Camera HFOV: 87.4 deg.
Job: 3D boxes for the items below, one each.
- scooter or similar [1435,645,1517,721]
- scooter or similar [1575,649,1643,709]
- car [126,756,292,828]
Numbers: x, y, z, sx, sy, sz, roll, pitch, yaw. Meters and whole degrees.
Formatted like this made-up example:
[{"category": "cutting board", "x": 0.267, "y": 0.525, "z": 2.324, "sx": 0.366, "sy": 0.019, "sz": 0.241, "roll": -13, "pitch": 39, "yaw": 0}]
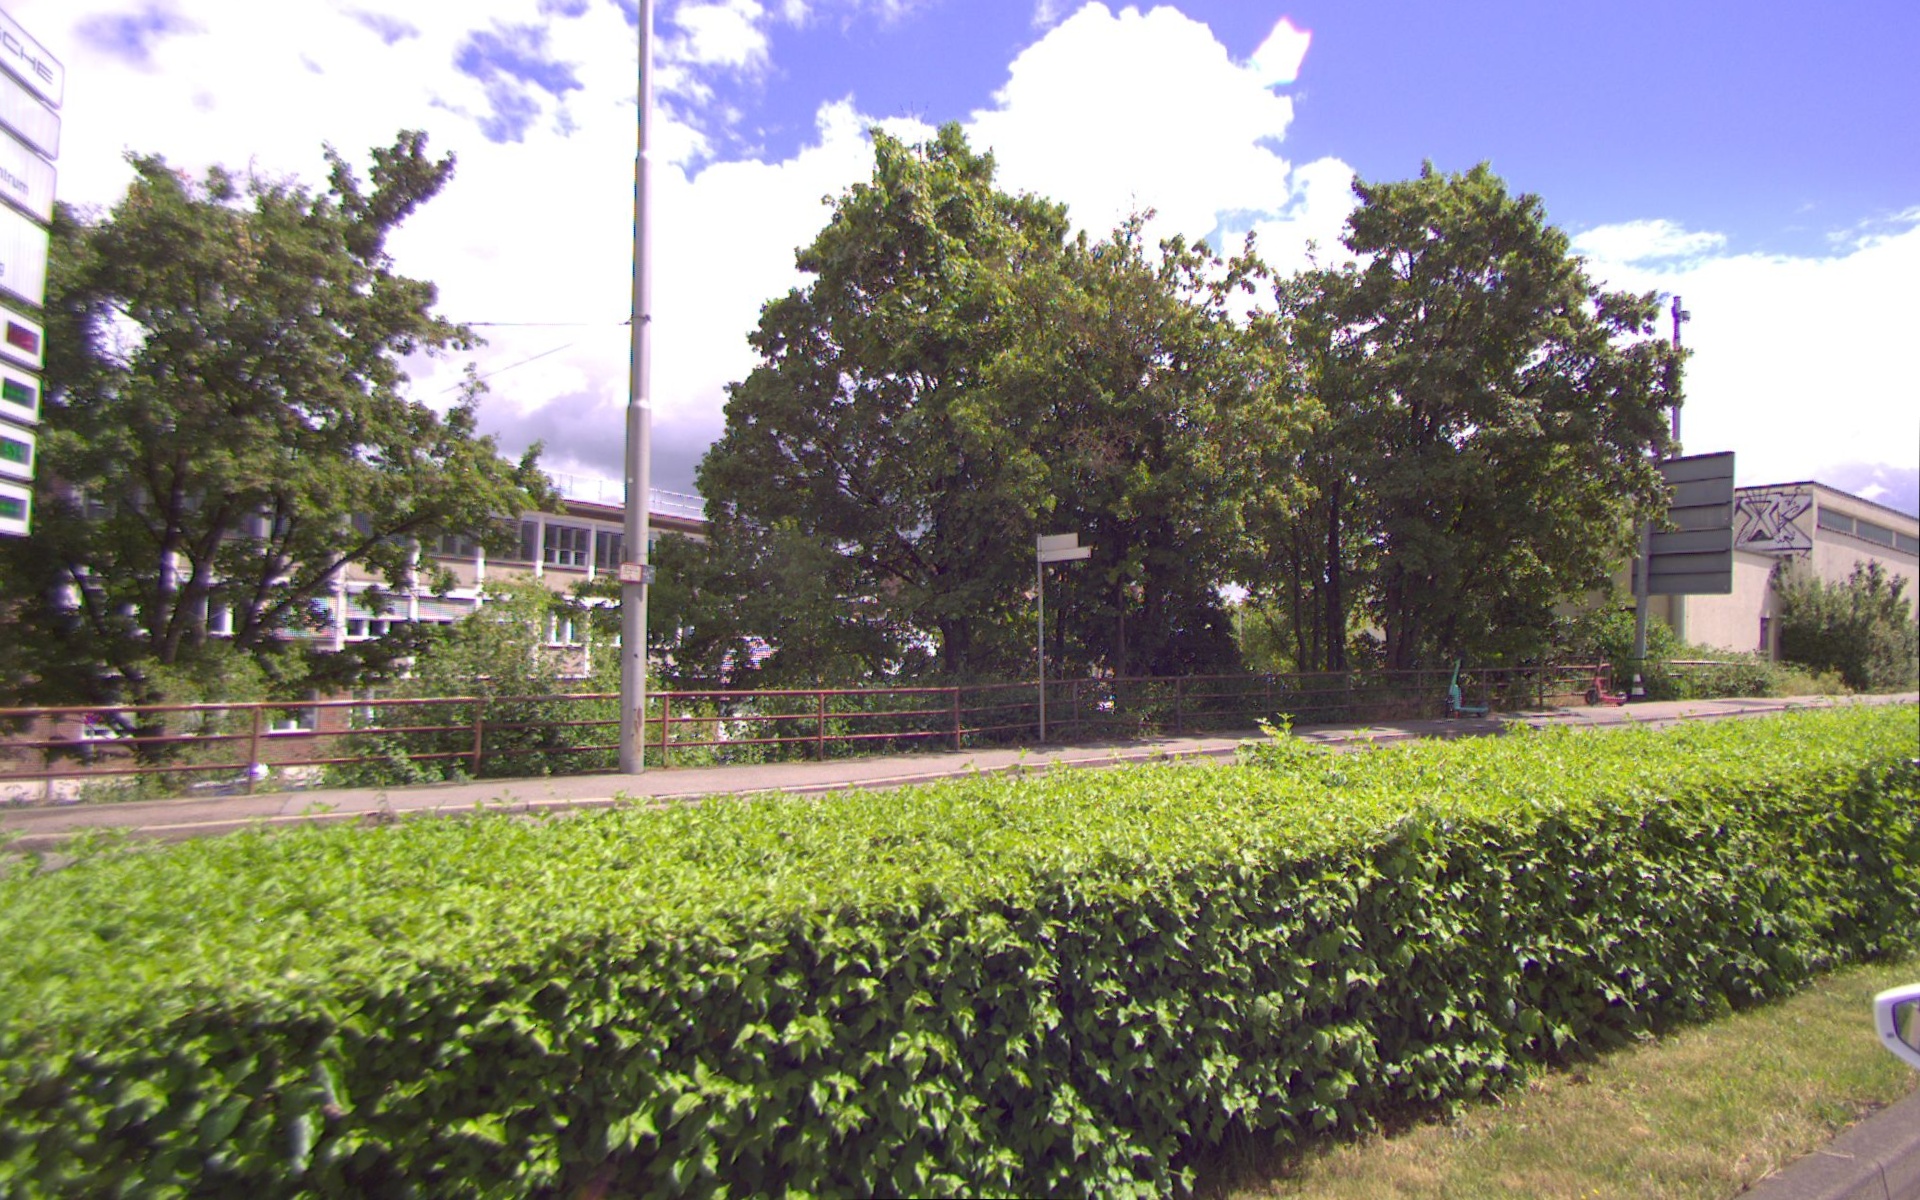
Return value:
[{"category": "scooter or similar", "x": 9.476, "y": 1.496, "z": 18.432, "sx": 1.622, "sy": 1.322, "sz": 0.489, "roll": 1, "pitch": 0, "yaw": -29}, {"category": "scooter or similar", "x": 13.836, "y": 1.659, "z": 21.409, "sx": 1.622, "sy": 1.232, "sz": 0.489, "roll": 1, "pitch": -2, "yaw": -29}, {"category": "car", "x": -22.329, "y": 5.660, "z": 29.939, "sx": 1.697, "sy": 1.547, "sz": 3.739, "roll": -2, "pitch": -3, "yaw": 44}]
